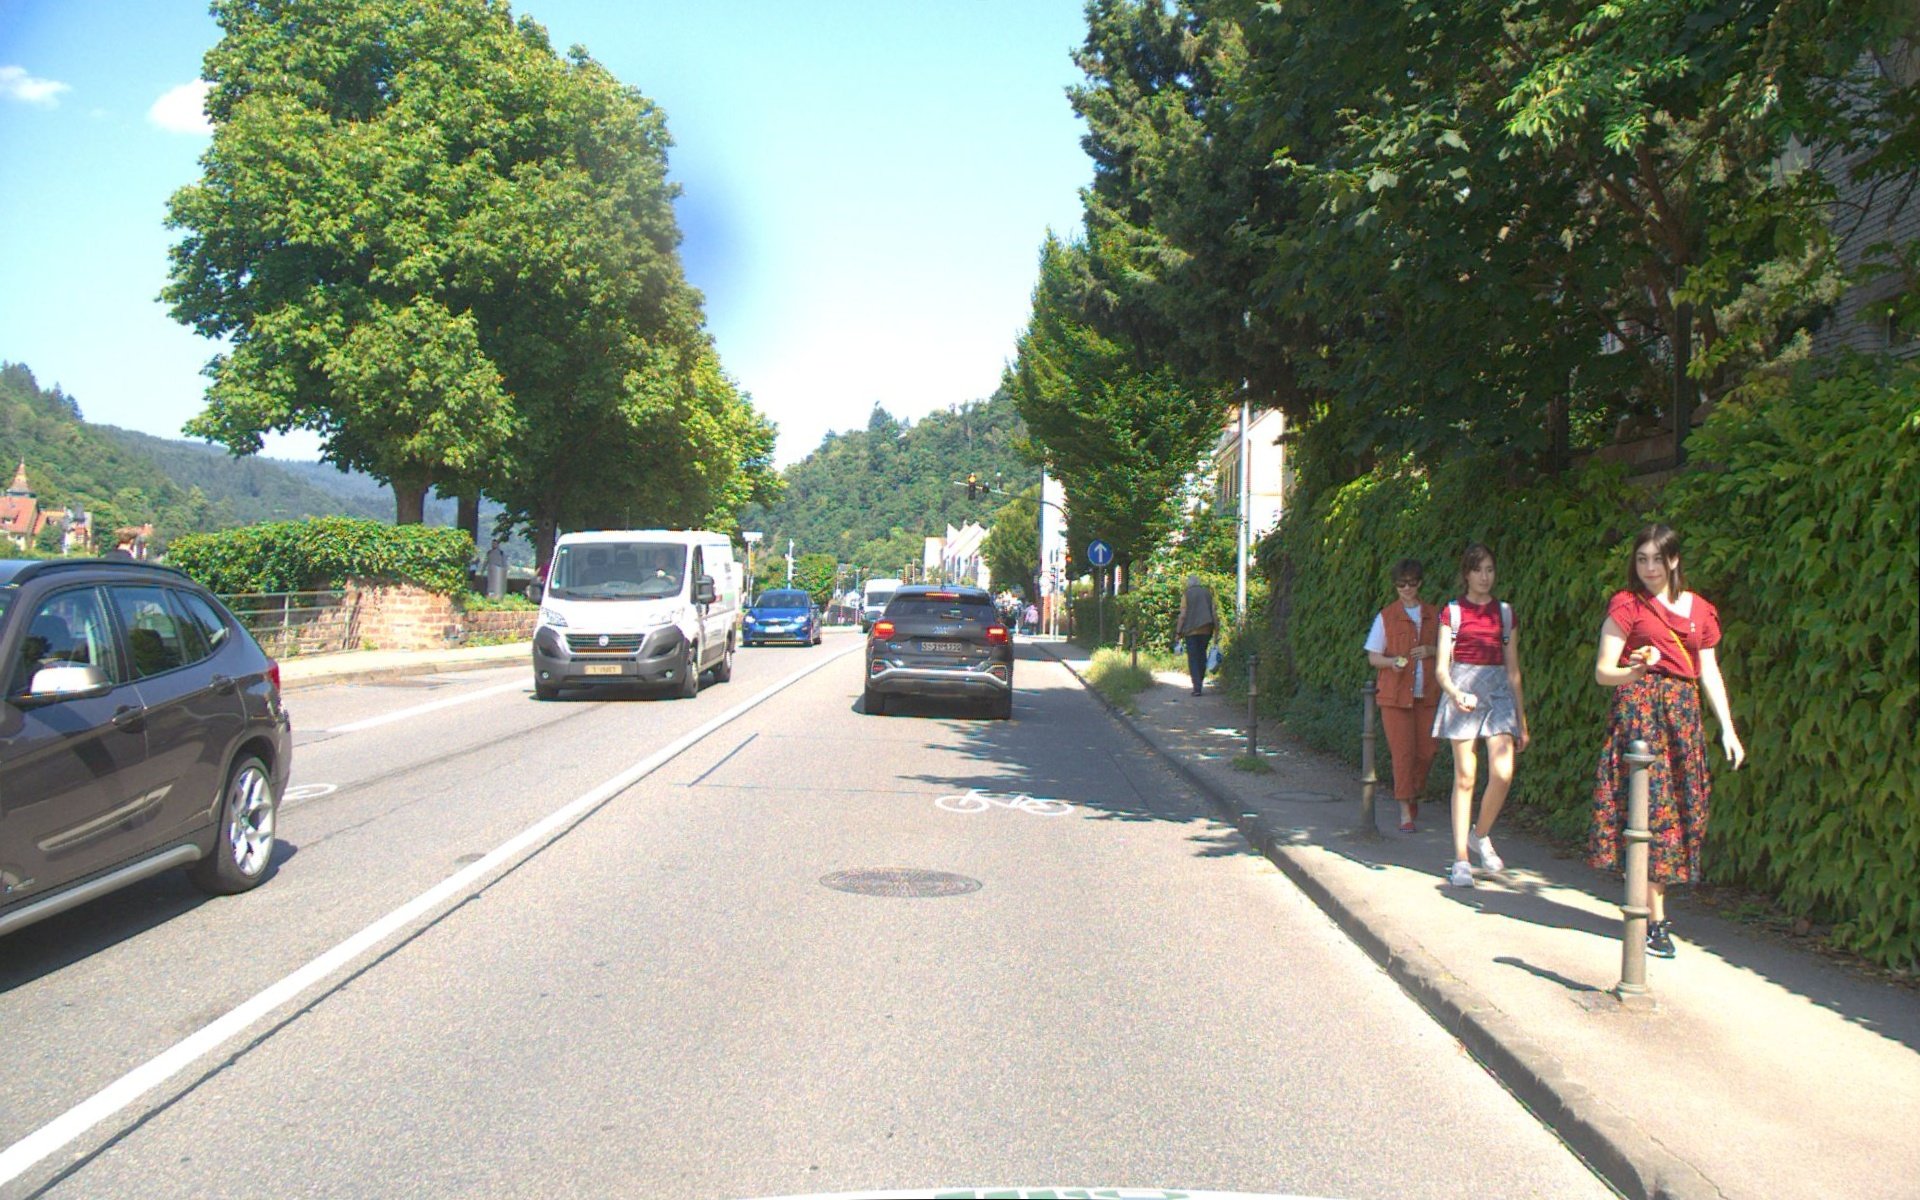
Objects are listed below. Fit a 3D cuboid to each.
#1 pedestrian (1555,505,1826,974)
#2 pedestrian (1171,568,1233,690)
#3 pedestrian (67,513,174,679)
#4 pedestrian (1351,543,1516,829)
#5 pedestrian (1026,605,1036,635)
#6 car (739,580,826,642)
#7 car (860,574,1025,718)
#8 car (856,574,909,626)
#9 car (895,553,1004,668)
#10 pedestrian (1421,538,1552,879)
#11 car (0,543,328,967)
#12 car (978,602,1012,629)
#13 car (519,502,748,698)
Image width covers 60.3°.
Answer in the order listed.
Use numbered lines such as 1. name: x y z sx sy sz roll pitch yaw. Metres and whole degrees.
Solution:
1. pedestrian: 2.939 0.525 6.738 0.667 1.773 0.913 1 0 -1
2. pedestrian: 3.442 0.406 23.583 0.713 1.679 0.882 -1 0 0
3. pedestrian: -10.155 -0.040 20.041 0.738 1.951 1.009 1 -2 -1
4. pedestrian: 2.876 0.497 10.132 0.720 1.662 0.920 1 0 -1
5. pedestrian: 3.711 1.057 86.652 0.479 1.586 0.461 1 -2 0
6. car: -4.559 0.307 42.975 1.860 1.515 3.795 1 -1 0
7. car: -0.191 0.493 20.684 1.819 1.550 4.000 2 1 0
8. car: -3.948 0.043 85.308 2.443 2.510 5.619 1 -2 0
9. car: -0.194 0.196 32.085 1.953 2.049 4.000 1 0 0
10. pedestrian: 2.613 0.522 8.241 0.446 1.634 0.579 1 0 -1
11. car: -4.119 0.498 6.348 1.778 1.422 4.346 0 1 -1
12. car: 2.064 0.953 99.157 1.953 1.478 4.008 1 -2 0
13. car: -4.316 -0.047 22.907 2.054 2.342 5.868 1 1 -1
